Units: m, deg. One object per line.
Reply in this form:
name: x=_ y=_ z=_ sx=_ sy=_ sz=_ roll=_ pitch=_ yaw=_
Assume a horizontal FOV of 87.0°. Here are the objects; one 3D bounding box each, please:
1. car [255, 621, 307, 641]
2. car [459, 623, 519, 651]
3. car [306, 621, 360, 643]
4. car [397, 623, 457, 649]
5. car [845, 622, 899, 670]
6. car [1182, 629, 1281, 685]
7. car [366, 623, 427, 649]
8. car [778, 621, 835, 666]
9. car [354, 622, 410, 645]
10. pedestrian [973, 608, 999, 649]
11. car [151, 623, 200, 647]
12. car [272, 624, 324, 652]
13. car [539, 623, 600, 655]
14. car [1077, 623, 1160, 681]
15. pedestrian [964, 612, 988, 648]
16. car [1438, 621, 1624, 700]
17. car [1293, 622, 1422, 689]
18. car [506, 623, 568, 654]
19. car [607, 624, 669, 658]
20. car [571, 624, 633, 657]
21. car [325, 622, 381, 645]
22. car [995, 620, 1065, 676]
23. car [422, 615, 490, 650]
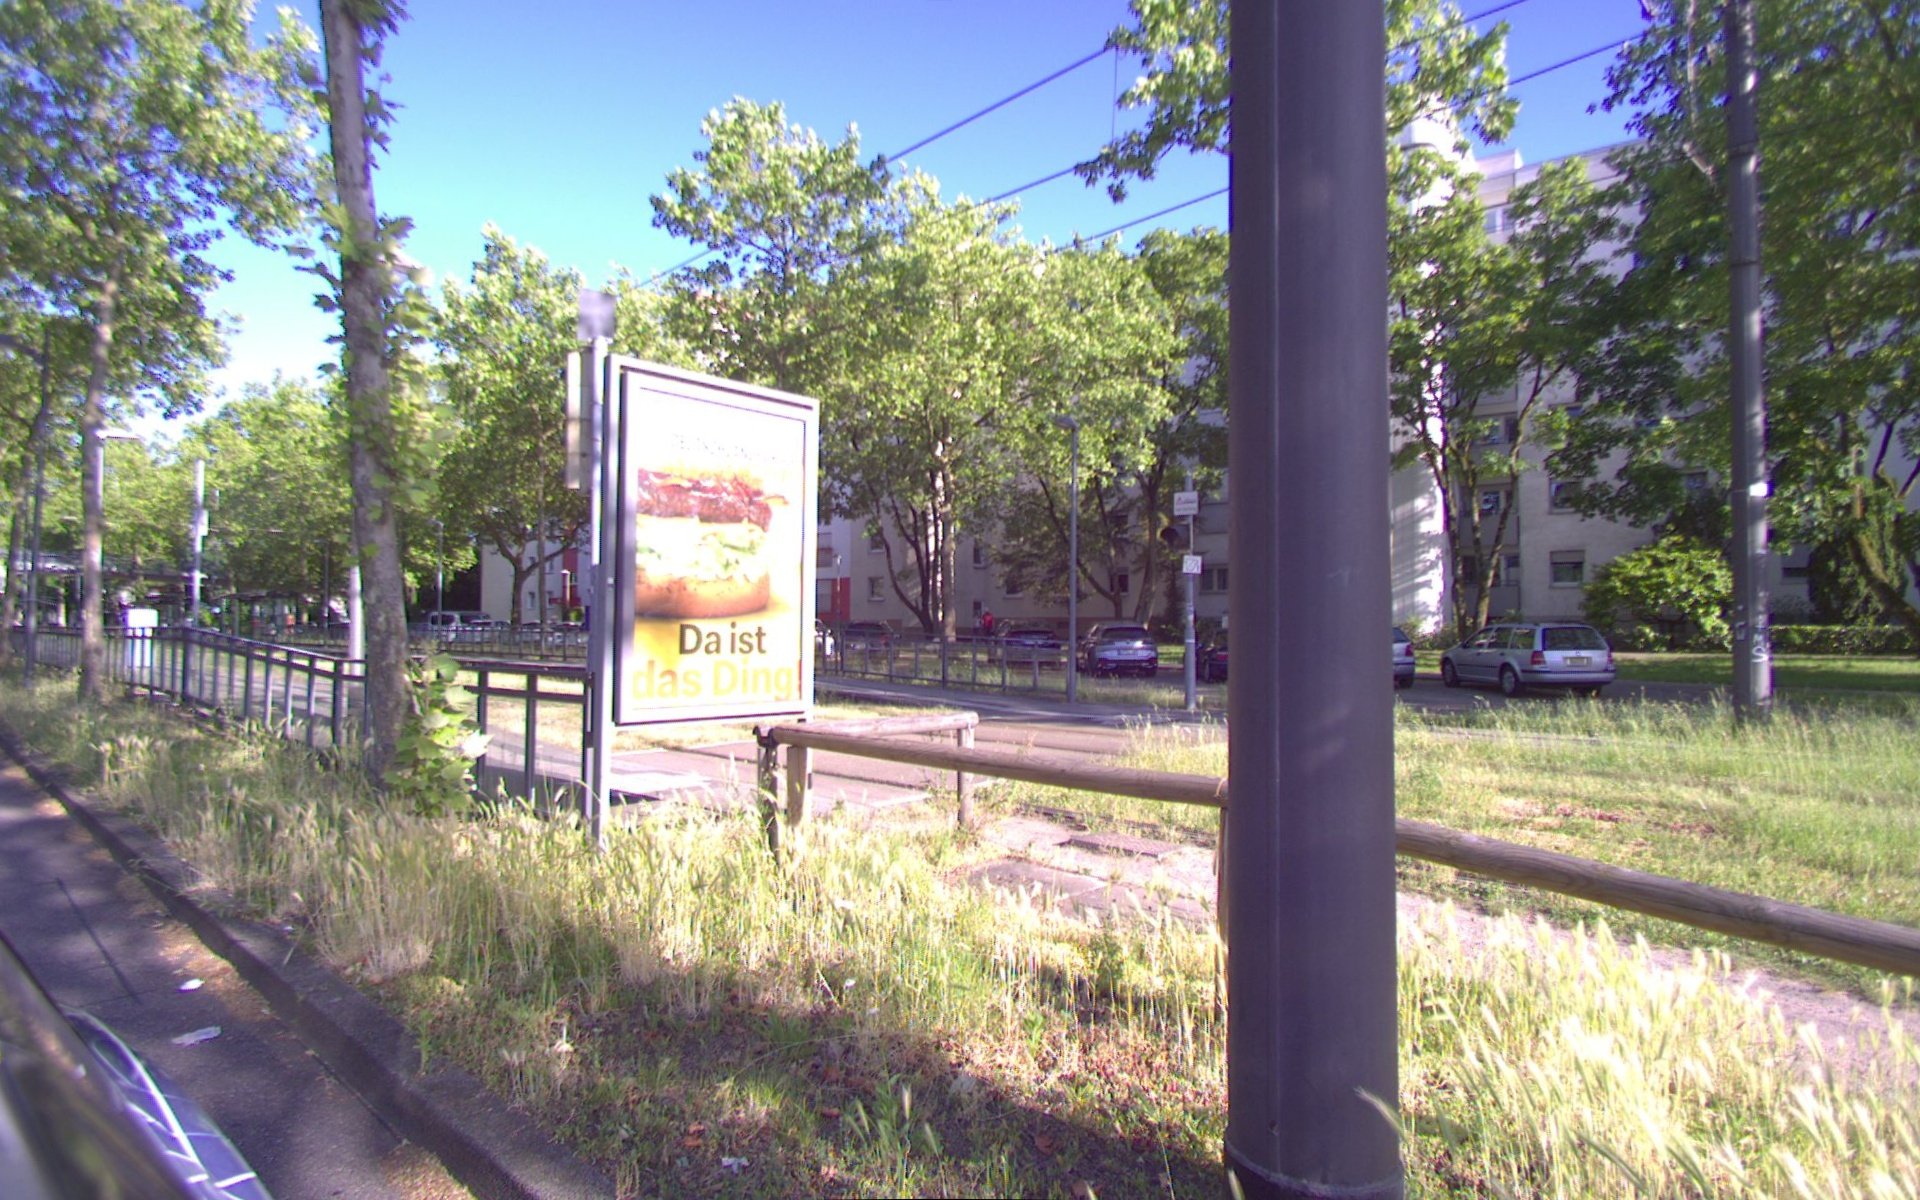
car: x=-53.042 y=2.396 z=79.153 sx=1.633 sy=1.452 sz=3.805 roll=-1 pitch=-1 yaw=-2
car: x=-25.862 y=1.994 z=55.661 sx=1.633 sy=1.452 sz=3.805 roll=-1 pitch=-1 yaw=-2
car: x=-44.971 y=2.282 z=72.681 sx=1.633 sy=1.452 sz=3.805 roll=-1 pitch=-1 yaw=-2
car: x=-31.323 y=2.078 z=59.599 sx=1.633 sy=1.452 sz=3.805 roll=-1 pitch=-1 yaw=-2
car: x=-2.967 y=1.522 z=34.650 sx=1.633 sy=1.522 sz=3.805 roll=-1 pitch=-1 yaw=-2
car: x=6.684 y=1.373 z=25.279 sx=1.445 sy=1.234 sz=3.815 roll=-1 pitch=-1 yaw=0
car: x=-33.686 y=2.109 z=60.603 sx=1.633 sy=1.452 sz=3.805 roll=-1 pitch=-1 yaw=-2
car: x=-5.557 y=1.564 z=37.019 sx=1.633 sy=1.522 sz=3.805 roll=-1 pitch=-1 yaw=-2
car: x=-37.876 y=2.167 z=66.379 sx=1.633 sy=1.452 sz=3.805 roll=-1 pitch=-1 yaw=-2
pedestrian: x=1.115 y=1.220 z=43.589 sx=0.786 sy=1.745 sz=0.755 roll=-1 pitch=0 yaw=39
car: x=-63.179 y=2.823 z=81.463 sx=4.891 sy=1.835 sz=1.811 roll=-1 pitch=-1 yaw=35
car: x=-40.629 y=2.300 z=62.090 sx=4.293 sy=1.631 sz=1.634 roll=-2 pitch=-1 yaw=42
car: x=-19.037 y=1.892 z=49.541 sx=1.633 sy=1.452 sz=3.805 roll=-1 pitch=-1 yaw=-2
car: x=4.227 y=1.360 z=27.521 sx=1.633 sy=1.413 sz=3.803 roll=-1 pitch=-1 yaw=0
pedestrian: x=0.728 y=1.375 z=46.303 sx=0.786 sy=1.635 sz=0.755 roll=-1 pitch=0 yaw=39
car: x=11.483 y=1.157 z=20.666 sx=1.559 sy=1.413 sz=3.906 roll=-1 pitch=-1 yaw=0
car: x=9.152 y=1.234 z=23.592 sx=1.559 sy=1.413 sz=3.638 roll=-1 pitch=-1 yaw=0
car: x=-21.328 y=1.935 z=51.184 sx=1.633 sy=1.452 sz=3.805 roll=-1 pitch=-1 yaw=-2
car: x=-14.054 y=1.760 z=44.338 sx=1.633 sy=1.366 sz=3.805 roll=-1 pitch=-1 yaw=-2
car: x=-16.618 y=1.850 z=47.160 sx=1.633 sy=1.452 sz=3.805 roll=-1 pitch=-1 yaw=-2
car: x=-40.830 y=2.221 z=68.192 sx=1.633 sy=1.452 sz=3.805 roll=-1 pitch=-1 yaw=-2
car: x=1.993 y=1.350 z=29.668 sx=1.633 sy=1.522 sz=3.805 roll=-1 pitch=-1 yaw=-2
car: x=-28.444 y=1.819 z=57.255 sx=1.814 sy=1.888 sz=4.323 roll=-1 pitch=-1 yaw=-2
